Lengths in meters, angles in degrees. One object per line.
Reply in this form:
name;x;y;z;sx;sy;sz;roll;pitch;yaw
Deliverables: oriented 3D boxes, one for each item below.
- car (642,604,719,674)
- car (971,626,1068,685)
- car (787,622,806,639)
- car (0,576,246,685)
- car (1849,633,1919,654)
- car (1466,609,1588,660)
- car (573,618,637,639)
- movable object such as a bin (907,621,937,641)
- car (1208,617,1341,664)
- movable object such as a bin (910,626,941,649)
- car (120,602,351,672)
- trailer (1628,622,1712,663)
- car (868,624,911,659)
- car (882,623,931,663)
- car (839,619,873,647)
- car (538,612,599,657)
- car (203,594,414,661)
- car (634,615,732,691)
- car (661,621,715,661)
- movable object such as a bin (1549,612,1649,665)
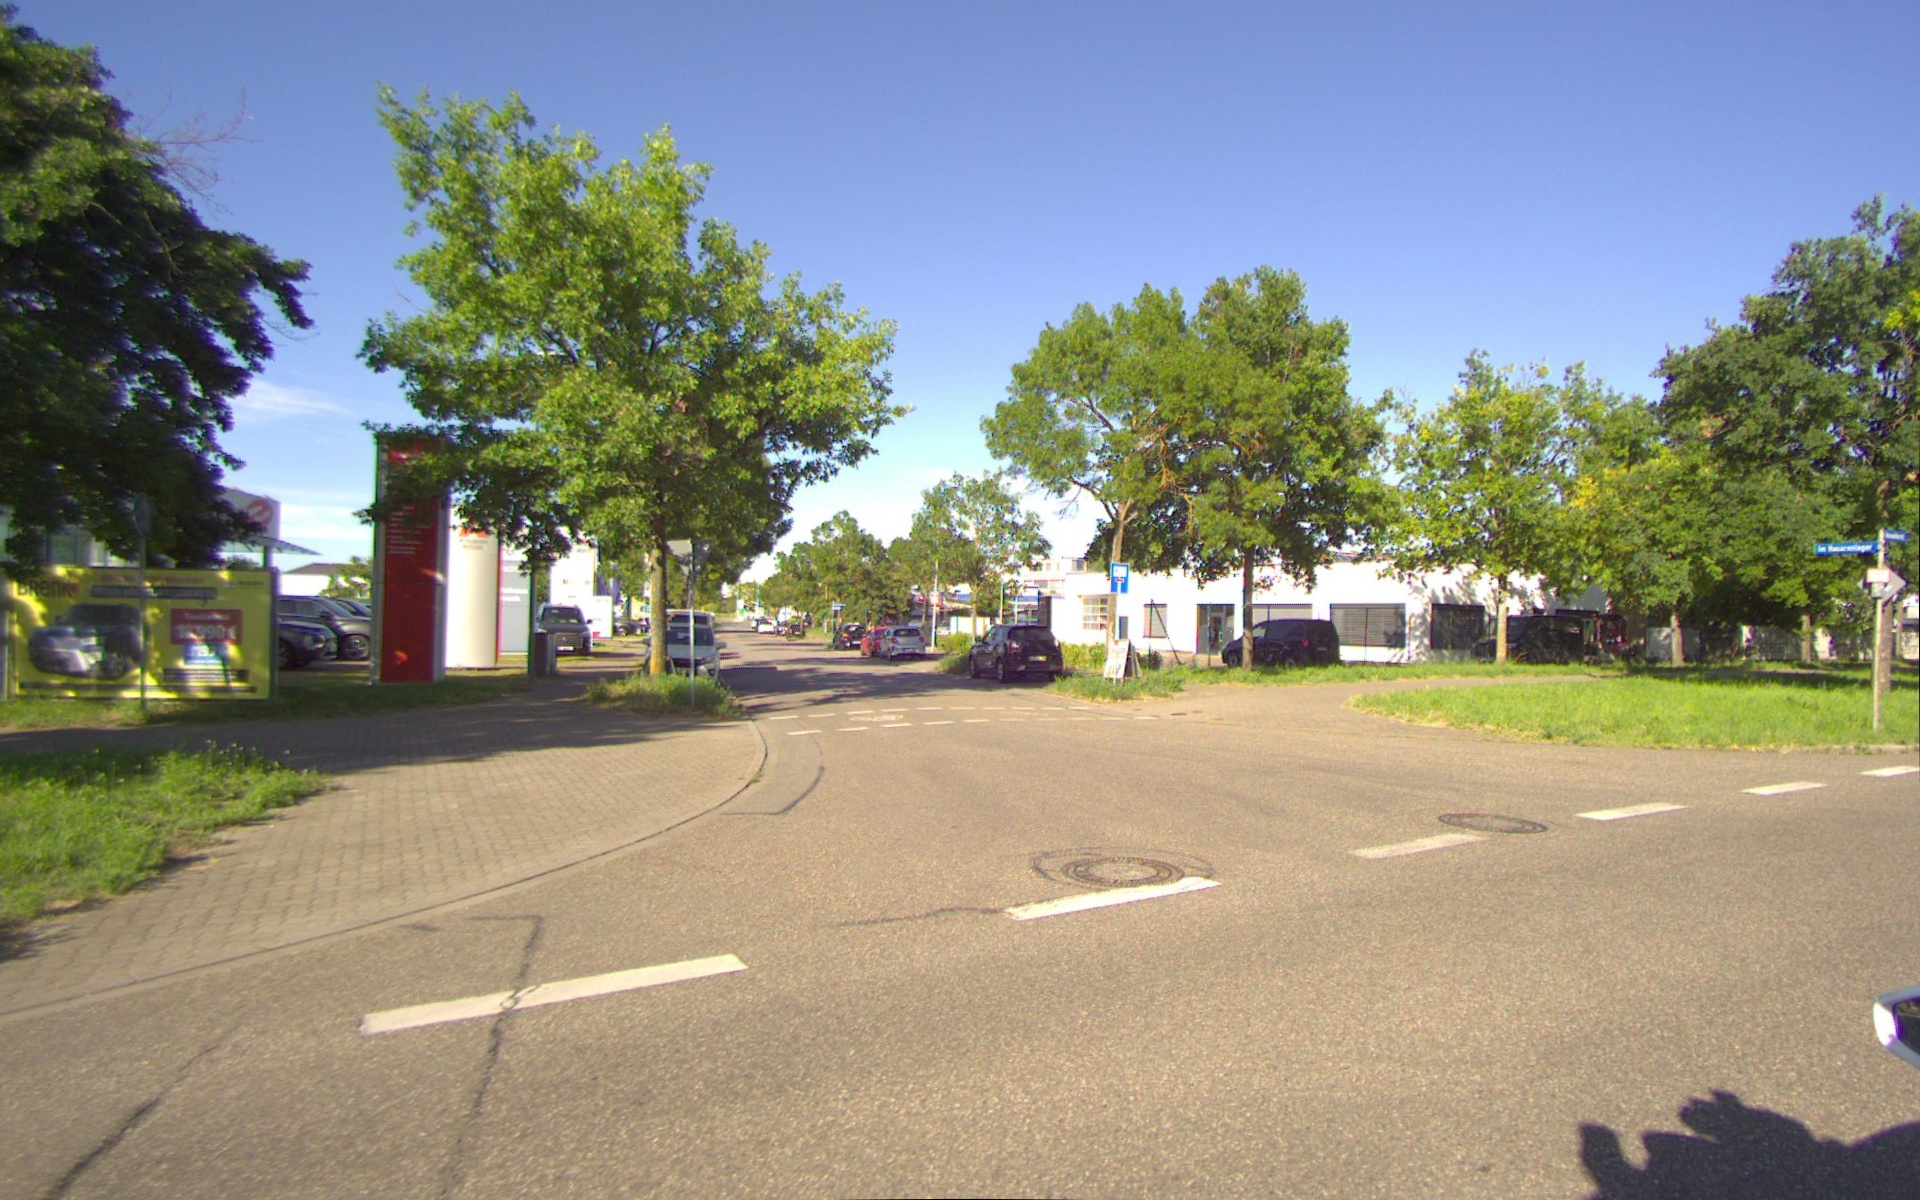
car;-8.373;1.127;30.466;1.907;1.931;5.015;1;-1;-12
car;1.649;1.563;29.119;1.792;1.553;3.671;1;-1;-14
car;-15.924;2.946;97.734;1.768;1.531;3.994;1;-1;-9
car;-17.227;0.573;20.477;4.763;2.040;2.000;1;-1;20
car;62.445;2.876;67.176;1.921;1.305;4.174;1;-1;-33
car;23.855;1.450;42.189;5.742;2.015;2.025;2;-1;-32
car;-28.546;2.281;80.947;4.795;1.583;1.992;1;-1;-19
movable object such as a bin;-2.342;1.916;61.892;1.617;1.159;1.490;1;-1;-11
car;10.790;1.359;34.825;1.914;1.499;4.489;1;-1;-24
movable object such as a bin;-2.096;2.247;60.170;1.617;1.288;1.675;1;-1;-10
car;-17.529;0.912;24.565;4.105;1.591;1.992;1;-1;-19
trailer;34.876;2.068;49.347;3.697;1.940;2.092;1;-1;-31
car;-3.502;1.983;49.086;1.768;1.531;3.993;0;0;-9
car;-2.435;1.880;44.840;1.768;1.597;3.993;0;0;-9
car;-6.252;1.963;60.030;1.768;1.531;3.993;0;0;-9
car;-14.845;1.281;38.290;1.969;1.583;4.850;1;-1;-19
car;-19.001;0.824;29.591;4.794;1.837;1.993;1;-1;-18
car;-6.435;1.191;23.677;1.929;1.639;3.747;1;-1;-12
car;-11.568;1.712;42.938;1.768;1.531;3.993;0;0;-9
movable object such as a bin;28.956;1.725;45.505;4.409;2.246;2.092;1;-1;-31
